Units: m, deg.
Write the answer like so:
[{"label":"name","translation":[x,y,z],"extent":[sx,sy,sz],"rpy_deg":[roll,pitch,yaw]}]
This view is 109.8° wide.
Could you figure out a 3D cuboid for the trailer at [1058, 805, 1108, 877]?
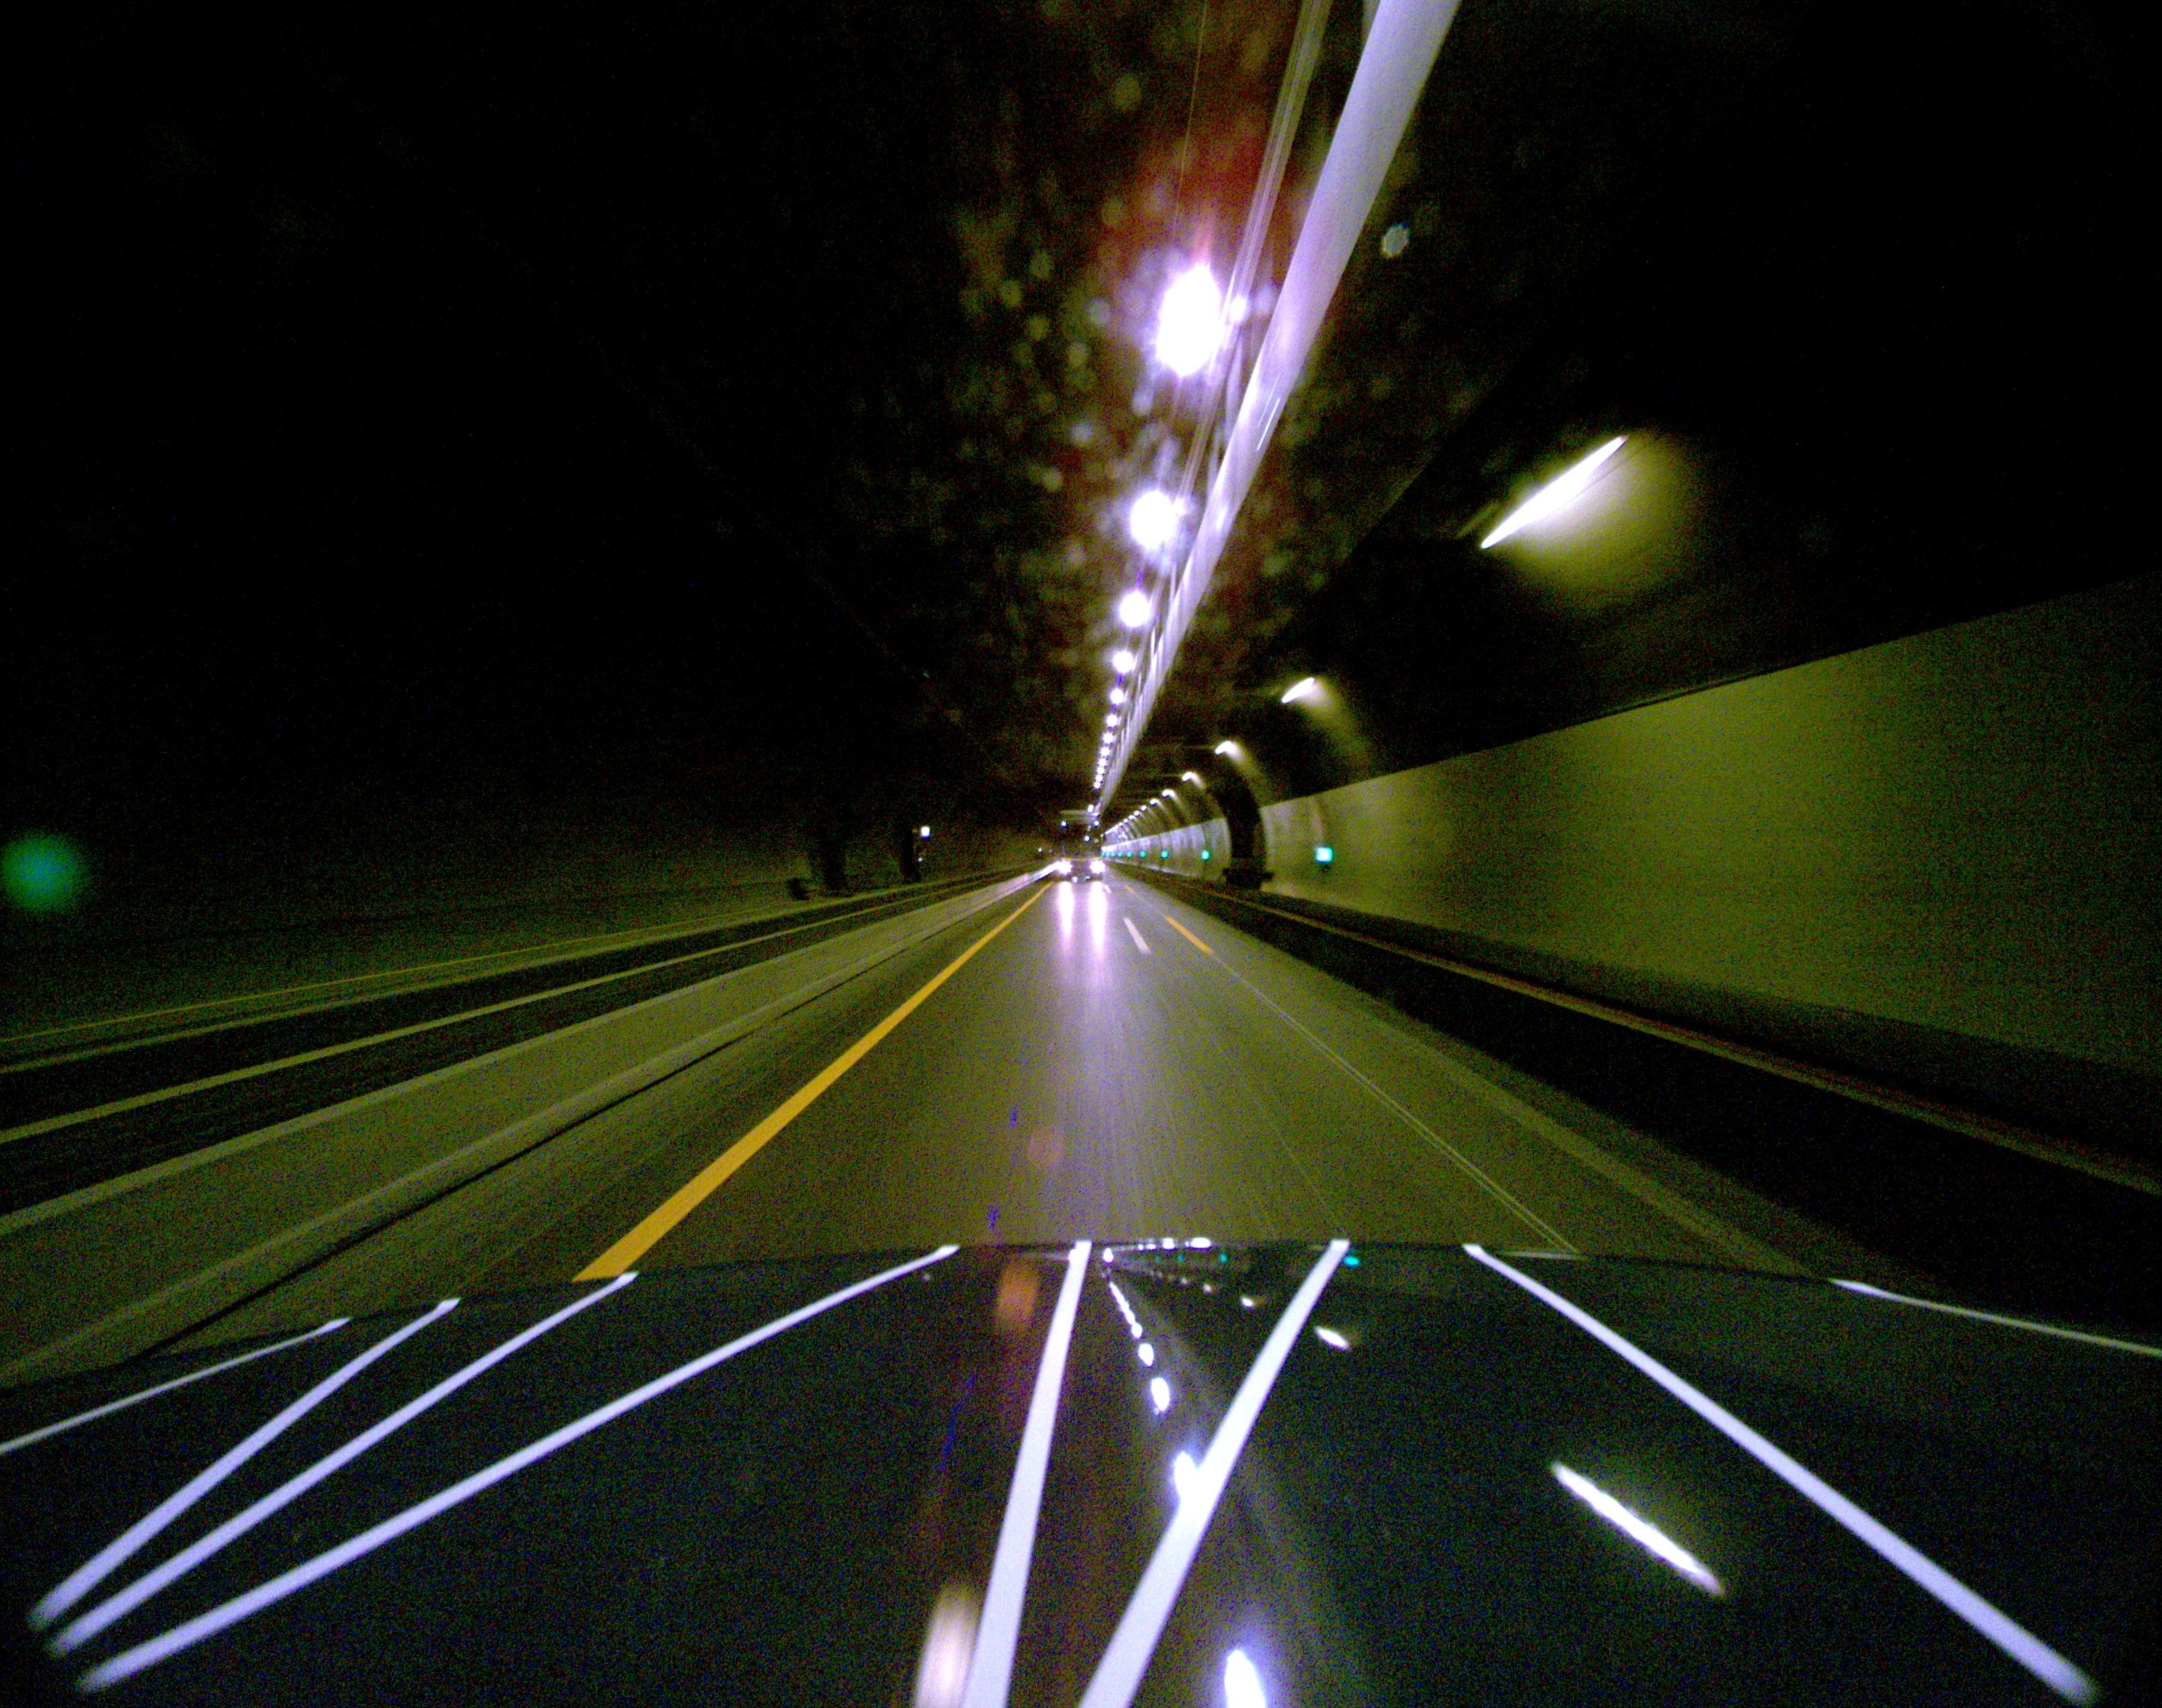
[{"label":"trailer","translation":[0.076,-0.841,51.387],"extent":[2.940,4.316,10.050],"rpy_deg":[-2,1,0]}]

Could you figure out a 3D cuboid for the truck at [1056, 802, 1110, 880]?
[{"label":"truck","translation":[0.093,-0.792,46.388],"extent":[2.951,4.338,6.674],"rpy_deg":[-2,1,0]}]

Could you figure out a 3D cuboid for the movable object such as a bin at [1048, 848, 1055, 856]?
[{"label":"movable object such as a bin","translation":[-8.092,-0.482,208.090],"extent":[1.688,2.133,4.626],"rpy_deg":[-2,1,-1]}]

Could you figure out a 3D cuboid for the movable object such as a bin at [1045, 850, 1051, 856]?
[{"label":"movable object such as a bin","translation":[-9.318,-0.257,214.193],"extent":[1.560,1.699,3.054],"rpy_deg":[-2,1,-1]}]
